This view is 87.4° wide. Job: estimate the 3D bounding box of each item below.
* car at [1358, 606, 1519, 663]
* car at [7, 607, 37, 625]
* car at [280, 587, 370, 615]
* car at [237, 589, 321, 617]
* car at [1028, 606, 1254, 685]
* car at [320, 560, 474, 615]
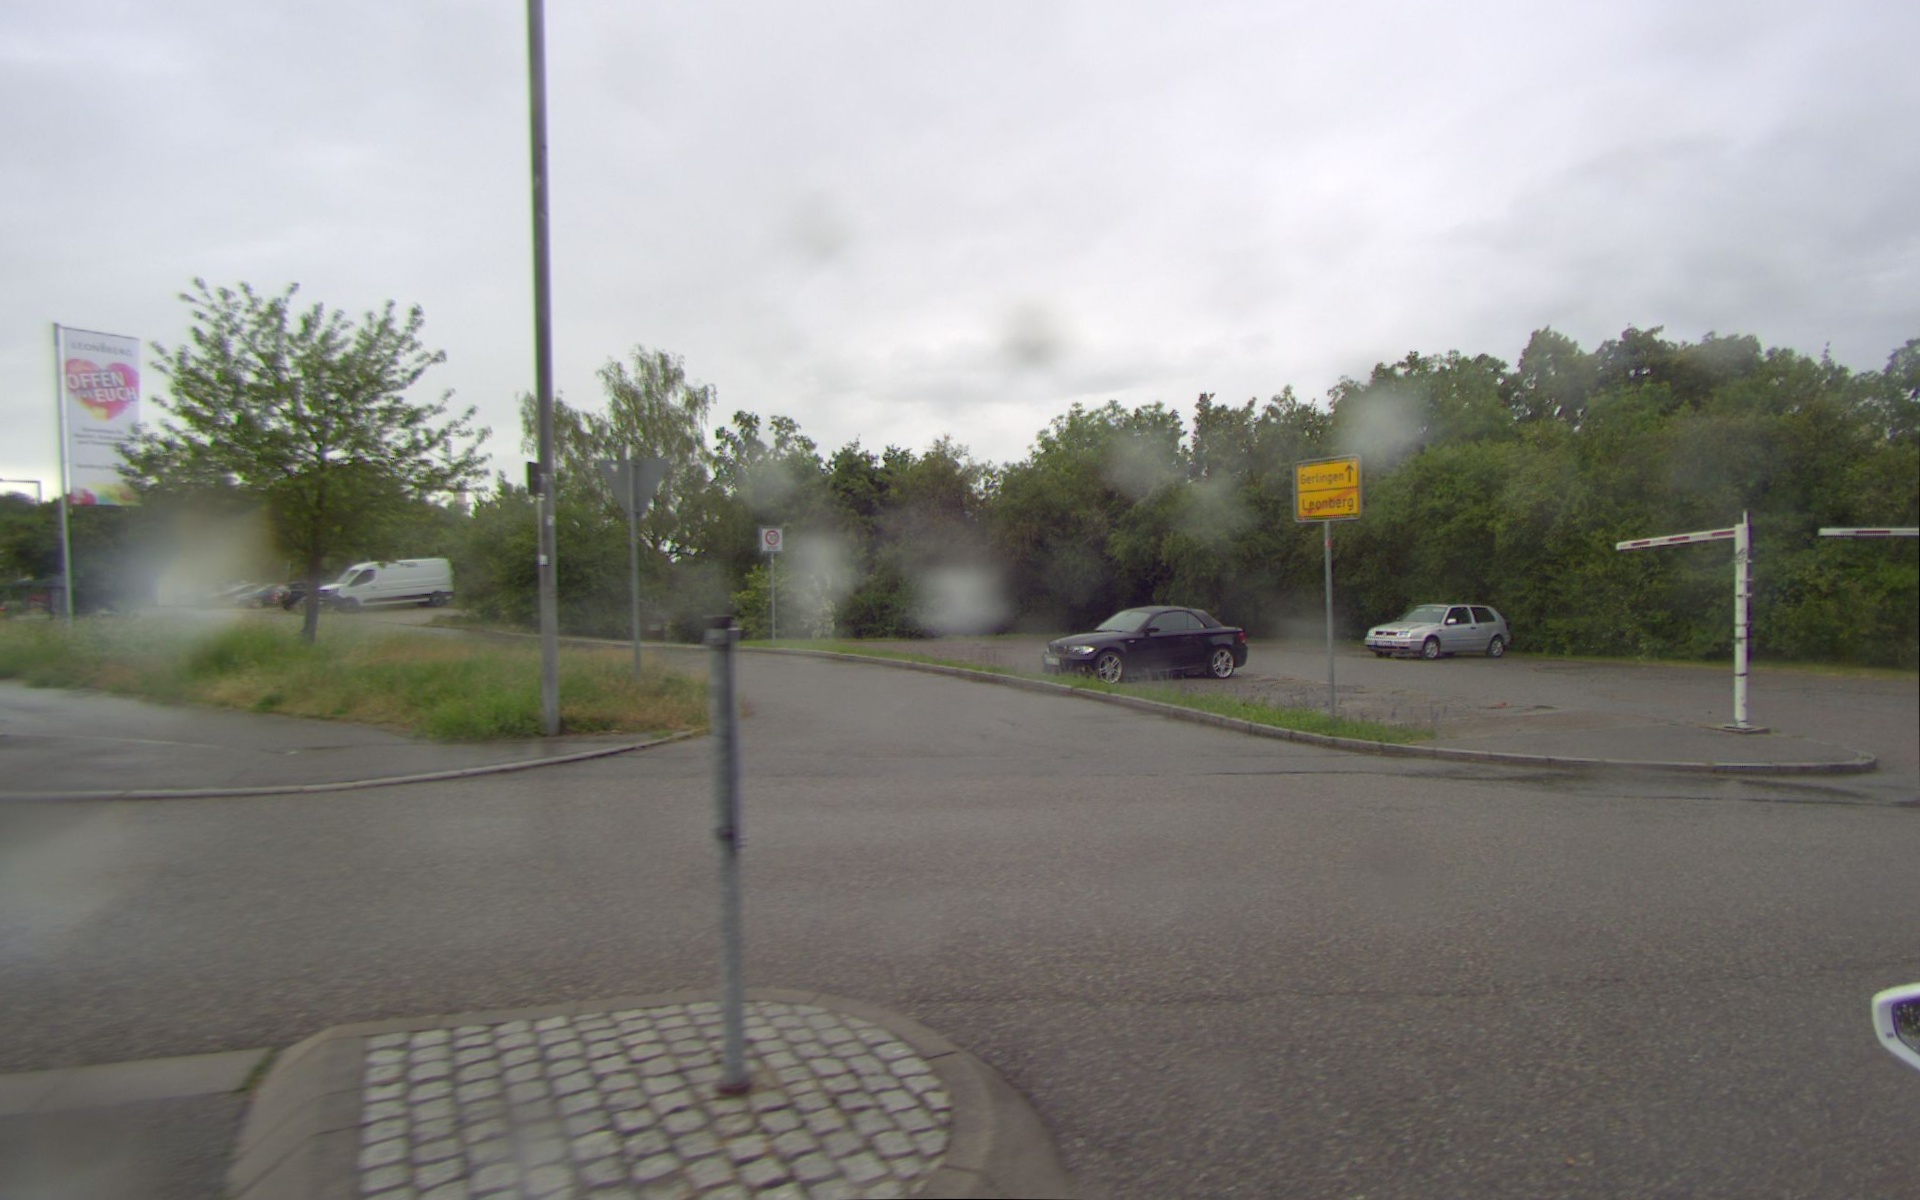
[{"bbox_3d":[12.580,0.871,26.396,4.065,1.373,1.597,0,0,-24],"label":"car"},{"bbox_3d":[-92.967,1.592,99.525,4.478,1.589,1.687,-2,4,43],"label":"car"},{"bbox_3d":[-35.594,0.036,56.366,1.823,1.382,3.974,0,2,45],"label":"car"},{"bbox_3d":[-41.934,0.176,61.904,1.874,1.382,3.973,0,5,45],"label":"car"},{"bbox_3d":[3.505,0.862,19.321,4.136,1.373,1.614,2,-1,-27],"label":"car"},{"bbox_3d":[-29.131,-0.728,52.214,2.107,2.430,6.543,1,5,40],"label":"car"}]
